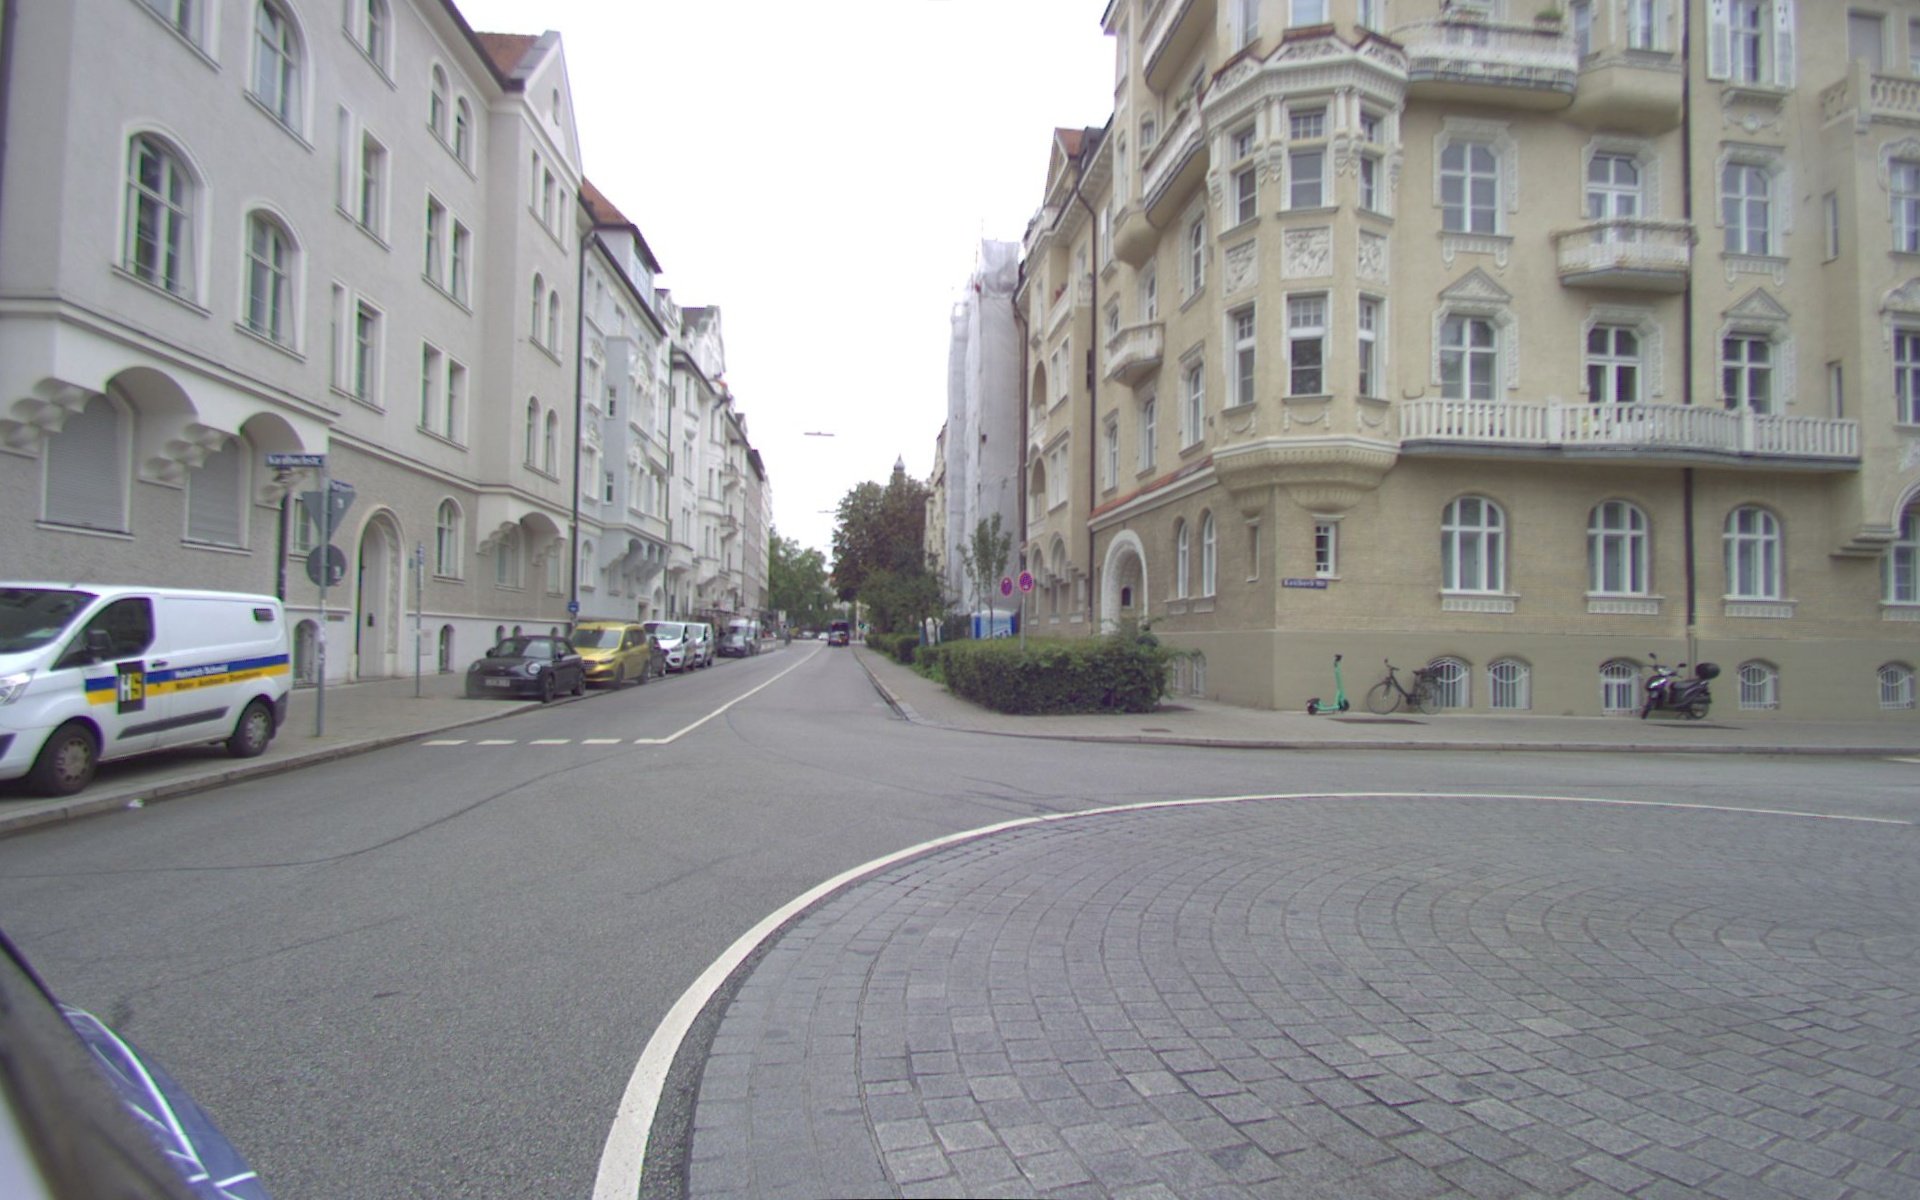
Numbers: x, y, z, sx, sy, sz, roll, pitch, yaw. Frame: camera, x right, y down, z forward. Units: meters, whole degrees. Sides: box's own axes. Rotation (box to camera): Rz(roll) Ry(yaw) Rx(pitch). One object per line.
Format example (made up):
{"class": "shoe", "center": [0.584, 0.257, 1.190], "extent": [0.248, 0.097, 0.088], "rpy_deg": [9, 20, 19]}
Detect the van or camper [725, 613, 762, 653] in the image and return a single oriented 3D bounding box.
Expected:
{"class": "van or camper", "center": [-15.047, 2.289, 70.584], "extent": [1.930, 2.657, 5.466], "rpy_deg": [1, -2, -6]}

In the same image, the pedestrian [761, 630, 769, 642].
{"class": "pedestrian", "center": [-22.166, 4.062, 115.141], "extent": [0.850, 1.362, 0.863], "rpy_deg": [1, -2, -6]}

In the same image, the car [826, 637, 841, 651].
{"class": "car", "center": [-14.191, 4.909, 113.738], "extent": [1.564, 1.490, 3.788], "rpy_deg": [1, -2, -7]}

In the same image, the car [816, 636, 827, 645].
{"class": "car", "center": [-26.160, 7.577, 190.682], "extent": [1.899, 1.630, 4.004], "rpy_deg": [1, -2, -5]}

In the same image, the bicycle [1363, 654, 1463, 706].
{"class": "bicycle", "center": [9.347, 1.647, 20.888], "extent": [1.853, 1.030, 0.561], "rpy_deg": [1, -2, -6]}

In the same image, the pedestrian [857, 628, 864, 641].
{"class": "pedestrian", "center": [-16.454, 5.718, 167.345], "extent": [0.941, 2.029, 1.394], "rpy_deg": [1, -2, 3]}

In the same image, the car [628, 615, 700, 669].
{"class": "car", "center": [-11.531, 1.620, 39.742], "extent": [1.934, 1.952, 5.001], "rpy_deg": [1, -2, -8]}

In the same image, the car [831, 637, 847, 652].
{"class": "car", "center": [-14.362, 5.239, 119.882], "extent": [1.746, 1.657, 4.280], "rpy_deg": [1, -2, -7]}

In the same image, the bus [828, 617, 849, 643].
{"class": "bus", "center": [-15.743, 3.907, 131.708], "extent": [2.548, 3.124, 8.934], "rpy_deg": [1, -2, -6]}

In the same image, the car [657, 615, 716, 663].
{"class": "car", "center": [-12.367, 1.781, 46.088], "extent": [1.934, 2.029, 5.001], "rpy_deg": [1, -2, -8]}

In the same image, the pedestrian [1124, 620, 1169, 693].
{"class": "pedestrian", "center": [4.800, 1.444, 26.065], "extent": [0.877, 1.824, 1.057], "rpy_deg": [1, -2, -4]}

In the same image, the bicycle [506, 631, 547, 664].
{"class": "bicycle", "center": [-15.337, 1.671, 35.872], "extent": [0.686, 1.102, 2.039], "rpy_deg": [3, -2, -5]}

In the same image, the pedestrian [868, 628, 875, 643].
{"class": "pedestrian", "center": [-11.004, 4.410, 125.819], "extent": [0.862, 1.758, 0.912], "rpy_deg": [1, -2, -7]}

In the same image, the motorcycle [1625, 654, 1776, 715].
{"class": "motorcycle", "center": [15.472, 1.755, 21.173], "extent": [2.523, 1.189, 1.008], "rpy_deg": [1, -2, -7]}

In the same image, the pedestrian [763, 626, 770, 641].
{"class": "pedestrian", "center": [-22.741, 3.981, 118.924], "extent": [0.650, 1.746, 0.685], "rpy_deg": [1, -2, -6]}

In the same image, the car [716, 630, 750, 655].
{"class": "car", "center": [-14.389, 2.682, 64.365], "extent": [1.732, 1.445, 4.093], "rpy_deg": [1, -2, -7]}

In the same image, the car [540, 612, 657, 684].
{"class": "car", "center": [-10.189, 1.333, 28.896], "extent": [1.829, 1.867, 4.824], "rpy_deg": [1, -2, -3]}

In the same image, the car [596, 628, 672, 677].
{"class": "car", "center": [-10.820, 1.713, 33.819], "extent": [1.612, 1.495, 3.787], "rpy_deg": [1, -2, -5]}

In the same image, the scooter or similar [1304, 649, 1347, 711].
{"class": "scooter or similar", "center": [7.294, 1.577, 20.176], "extent": [0.528, 1.175, 1.341], "rpy_deg": [-1, -3, 33]}

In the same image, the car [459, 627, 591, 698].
{"class": "car", "center": [-9.866, 1.382, 23.275], "extent": [1.644, 1.468, 3.900], "rpy_deg": [1, -2, -5]}

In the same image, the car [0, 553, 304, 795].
{"class": "car", "center": [-9.058, 0.648, 10.362], "extent": [1.892, 1.977, 4.934], "rpy_deg": [2, -2, -7]}
